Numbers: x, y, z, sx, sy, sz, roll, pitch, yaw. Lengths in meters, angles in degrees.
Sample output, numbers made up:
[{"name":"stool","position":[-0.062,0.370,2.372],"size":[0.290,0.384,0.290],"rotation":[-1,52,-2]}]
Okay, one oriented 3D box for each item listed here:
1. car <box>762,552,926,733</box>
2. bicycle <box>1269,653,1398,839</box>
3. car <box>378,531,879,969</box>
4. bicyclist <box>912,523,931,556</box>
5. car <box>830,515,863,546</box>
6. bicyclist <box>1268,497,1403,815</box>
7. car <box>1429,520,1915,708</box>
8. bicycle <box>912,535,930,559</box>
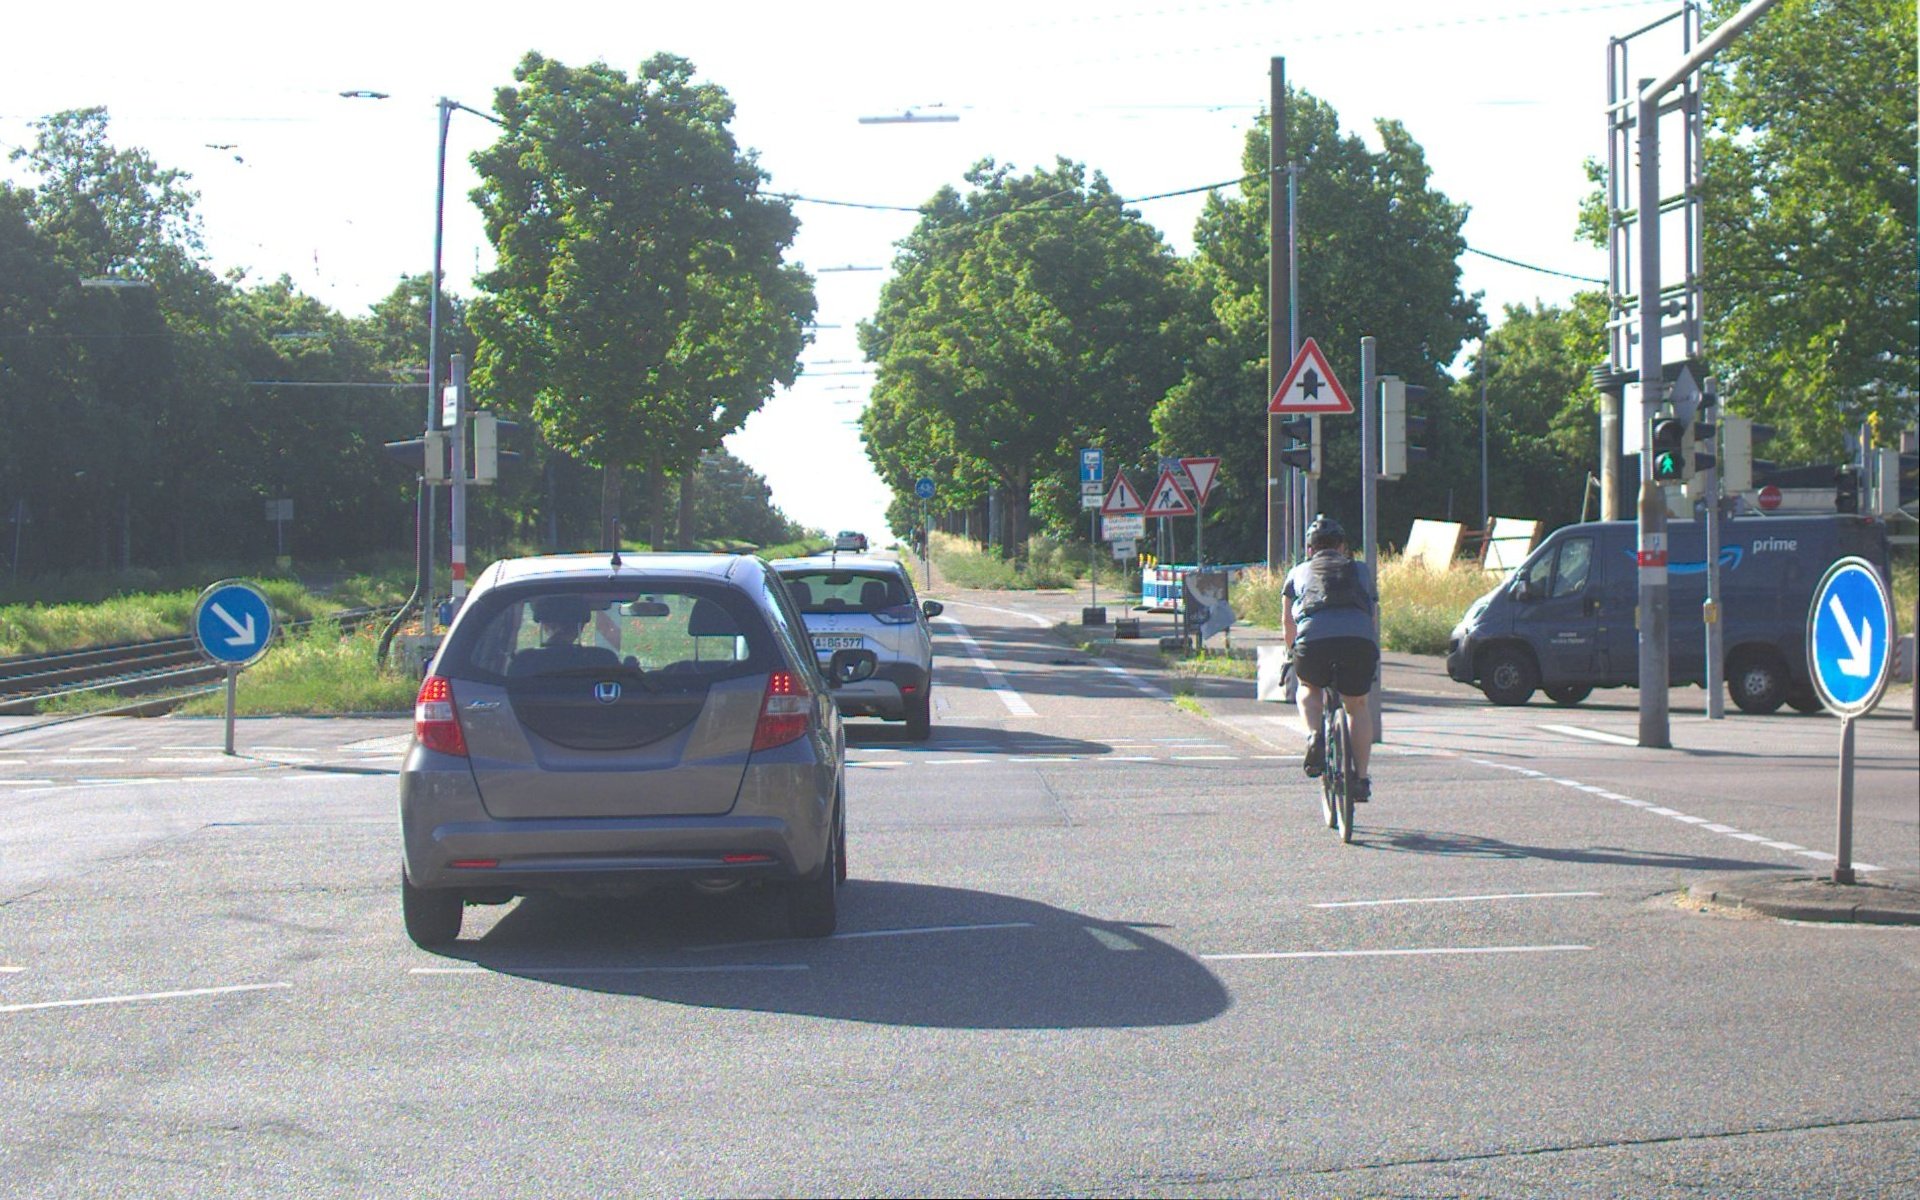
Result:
[{"name":"car","position":[-0.996,0.352,30.678],"size":[1.351,1.522,3.123],"rotation":[-1,0,0]},{"name":"bicycle","position":[2.038,0.775,18.930],"size":[0.524,0.920,2.089],"rotation":[-1,0,1]},{"name":"car","position":[-1.258,0.512,14.411],"size":[1.671,1.510,3.674],"rotation":[2,2,1]},{"name":"bicyclist","position":[-1.797,-2.819,160.343],"size":[0.818,1.519,0.966],"rotation":[1,-1,0]},{"name":"car","position":[-7.422,-4.552,225.146],"size":[1.993,2.007,4.000],"rotation":[0,0,0]},{"name":"bicyclist","position":[2.024,0.294,18.634],"size":[0.615,1.674,0.933],"rotation":[-1,0,0]},{"name":"car","position":[8.238,0.139,39.910],"size":[5.112,2.063,2.127],"rotation":[0,0,32]},{"name":"bicycle","position":[-1.810,-2.482,160.322],"size":[0.818,1.044,2.506],"rotation":[1,0,0]}]
